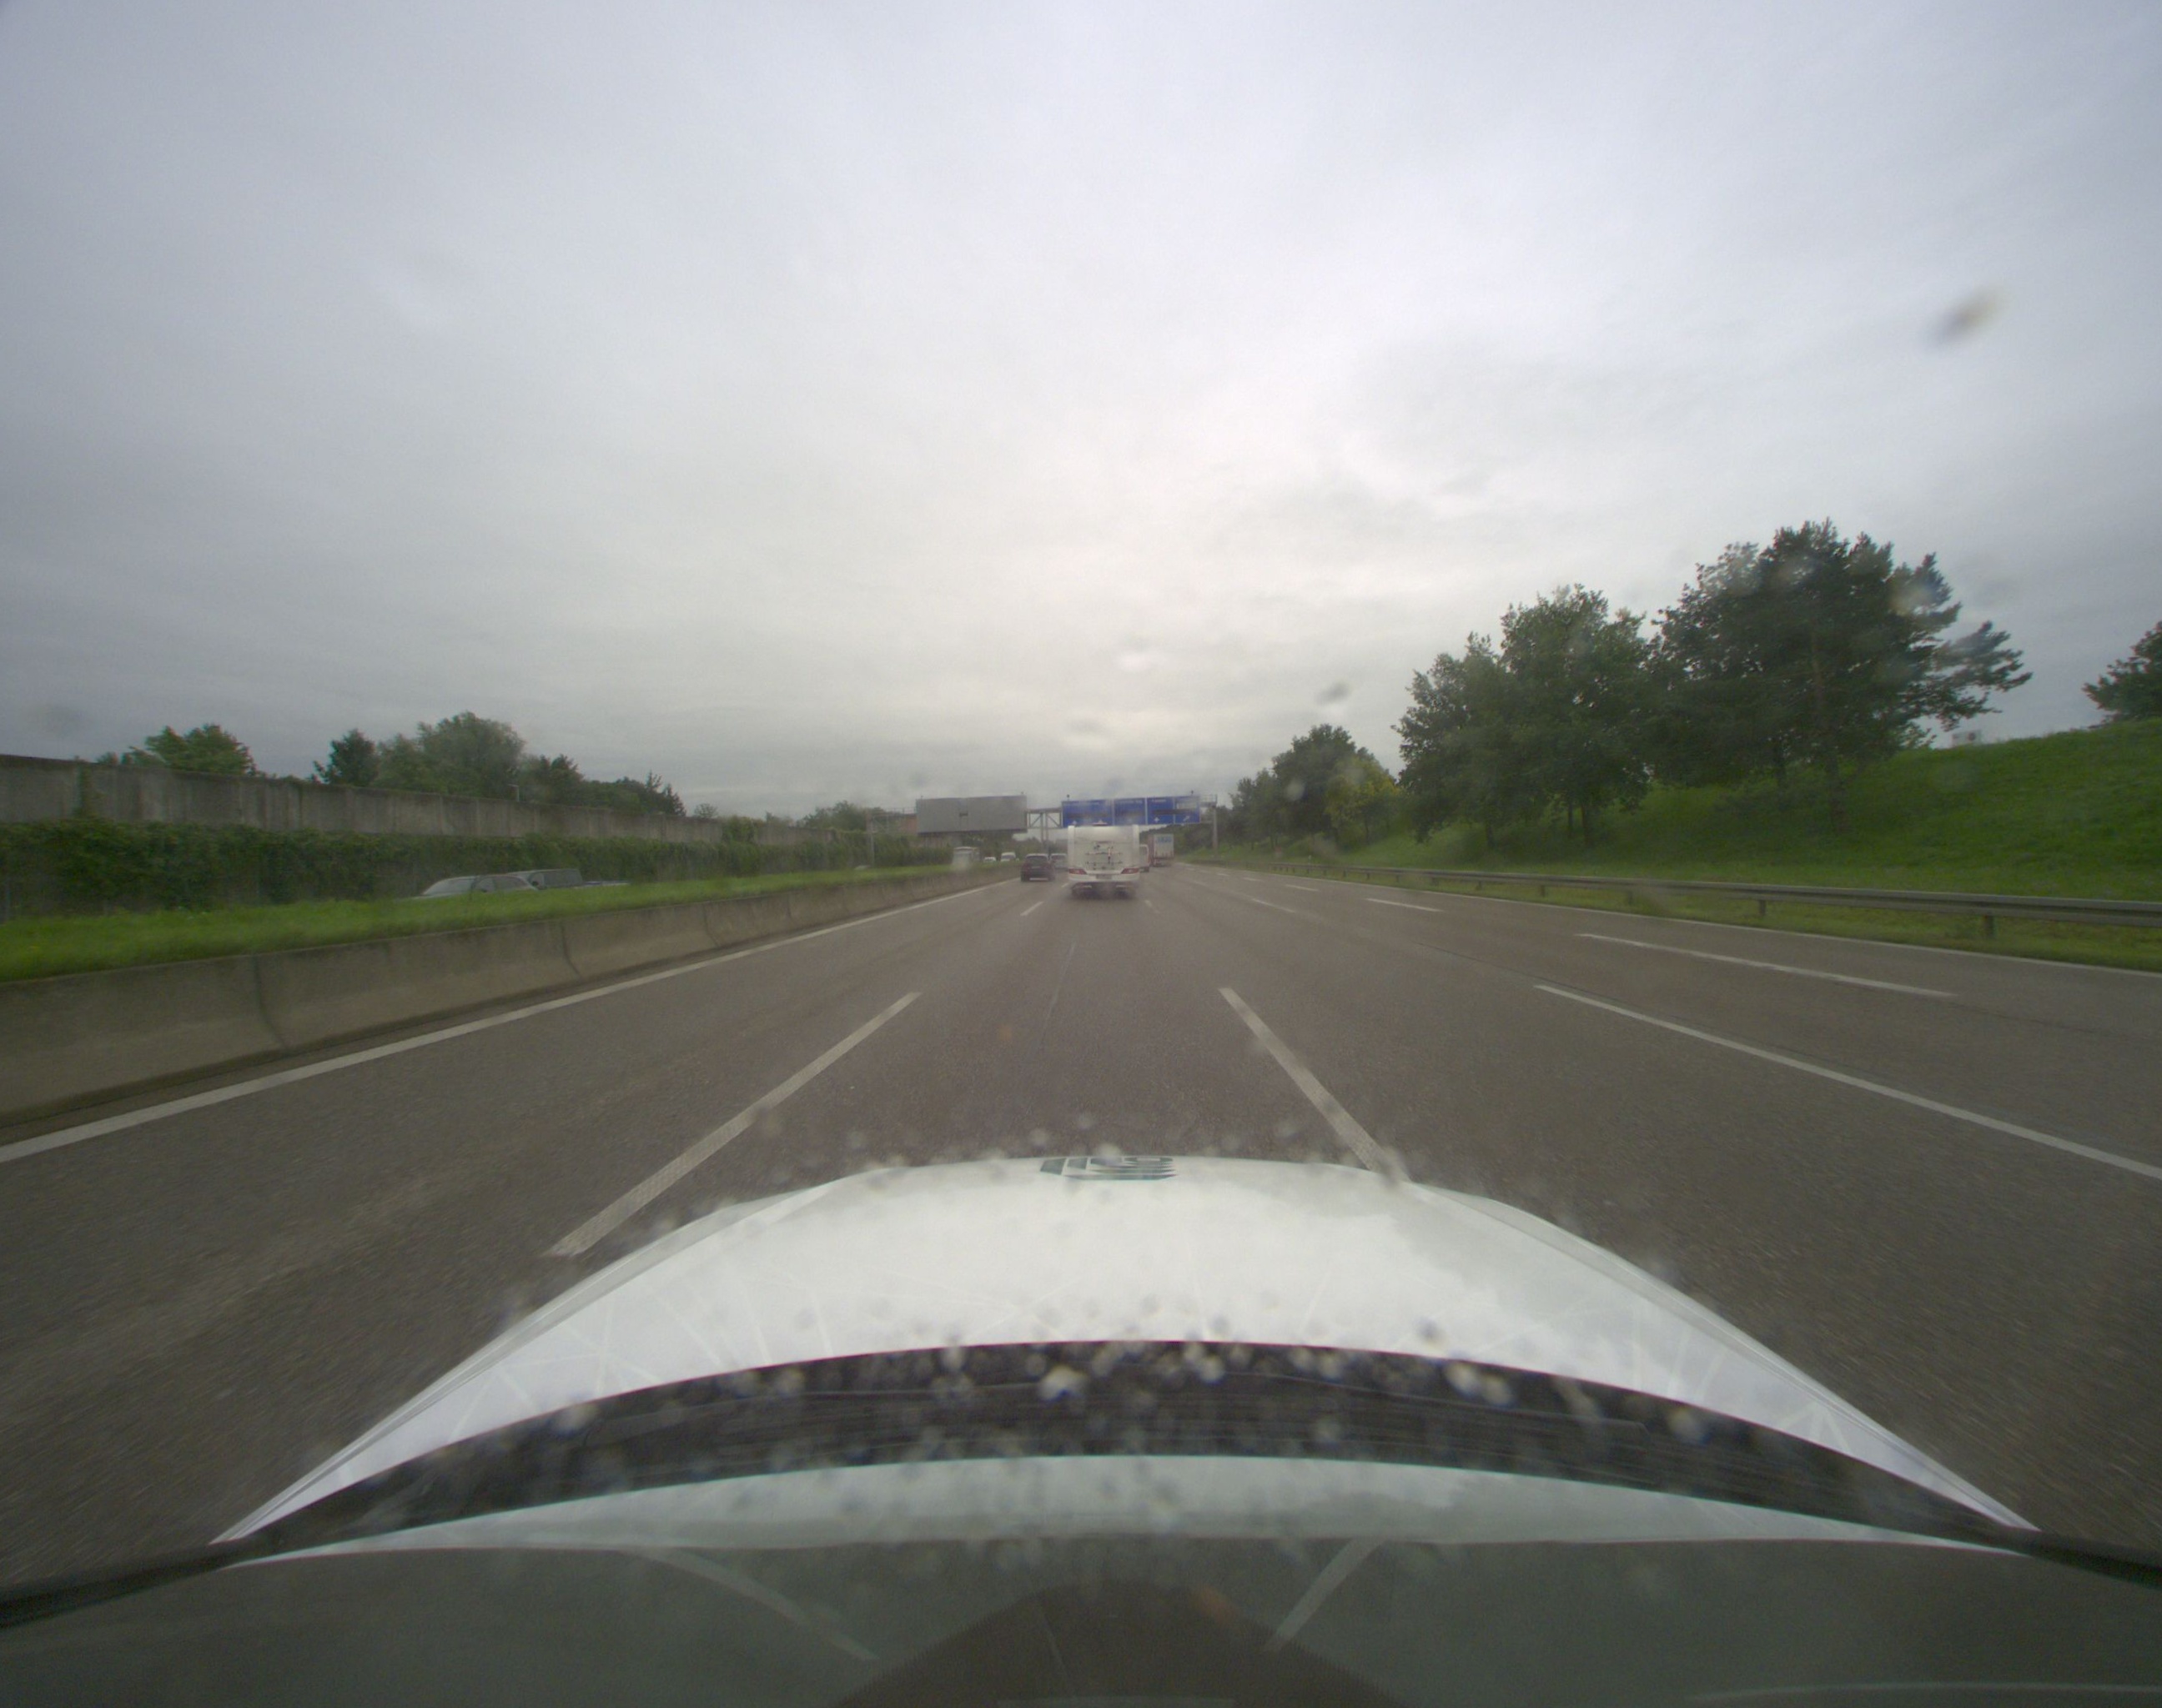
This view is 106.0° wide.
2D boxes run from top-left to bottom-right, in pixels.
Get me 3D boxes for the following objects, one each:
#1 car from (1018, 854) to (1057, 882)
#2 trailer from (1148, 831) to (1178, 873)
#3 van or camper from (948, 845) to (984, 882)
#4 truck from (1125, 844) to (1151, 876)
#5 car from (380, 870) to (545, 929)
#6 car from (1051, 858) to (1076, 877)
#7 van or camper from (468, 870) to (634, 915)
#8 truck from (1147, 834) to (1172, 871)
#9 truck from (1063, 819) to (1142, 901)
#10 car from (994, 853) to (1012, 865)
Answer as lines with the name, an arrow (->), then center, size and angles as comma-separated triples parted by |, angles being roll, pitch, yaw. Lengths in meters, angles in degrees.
car -> -2.600, 0.835, 49.386 | 1.986, 1.600, 5.124 | 0, -1, 1
trailer -> 10.283, -0.210, 102.913 | 3.087, 4.922, 11.797 | 0, -1, 3
van or camper -> -13.102, 1.067, 93.311 | 2.698, 3.948, 8.404 | 0, -1, 2
truck -> 4.974, 0.536, 72.035 | 2.046, 2.770, 5.550 | 0, -1, 1
car -> -18.960, 1.332, 25.258 | 1.777, 1.632, 4.294 | 0, -1, 0
car -> -1.628, 1.242, 76.750 | 2.120, 1.706, 4.113 | 1, -1, 1
van or camper -> -24.686, 1.694, 38.594 | 2.183, 1.800, 8.437 | 0, 0, 1
truck -> 10.632, -0.144, 110.358 | 3.036, 4.839, 5.854 | 0, -1, 3
truck -> 0.781, 0.226, 29.857 | 2.651, 2.742, 5.078 | 0, -1, 1
car -> -13.098, 0.905, 136.585 | 2.119, 1.912, 6.536 | 0, -1, 2
